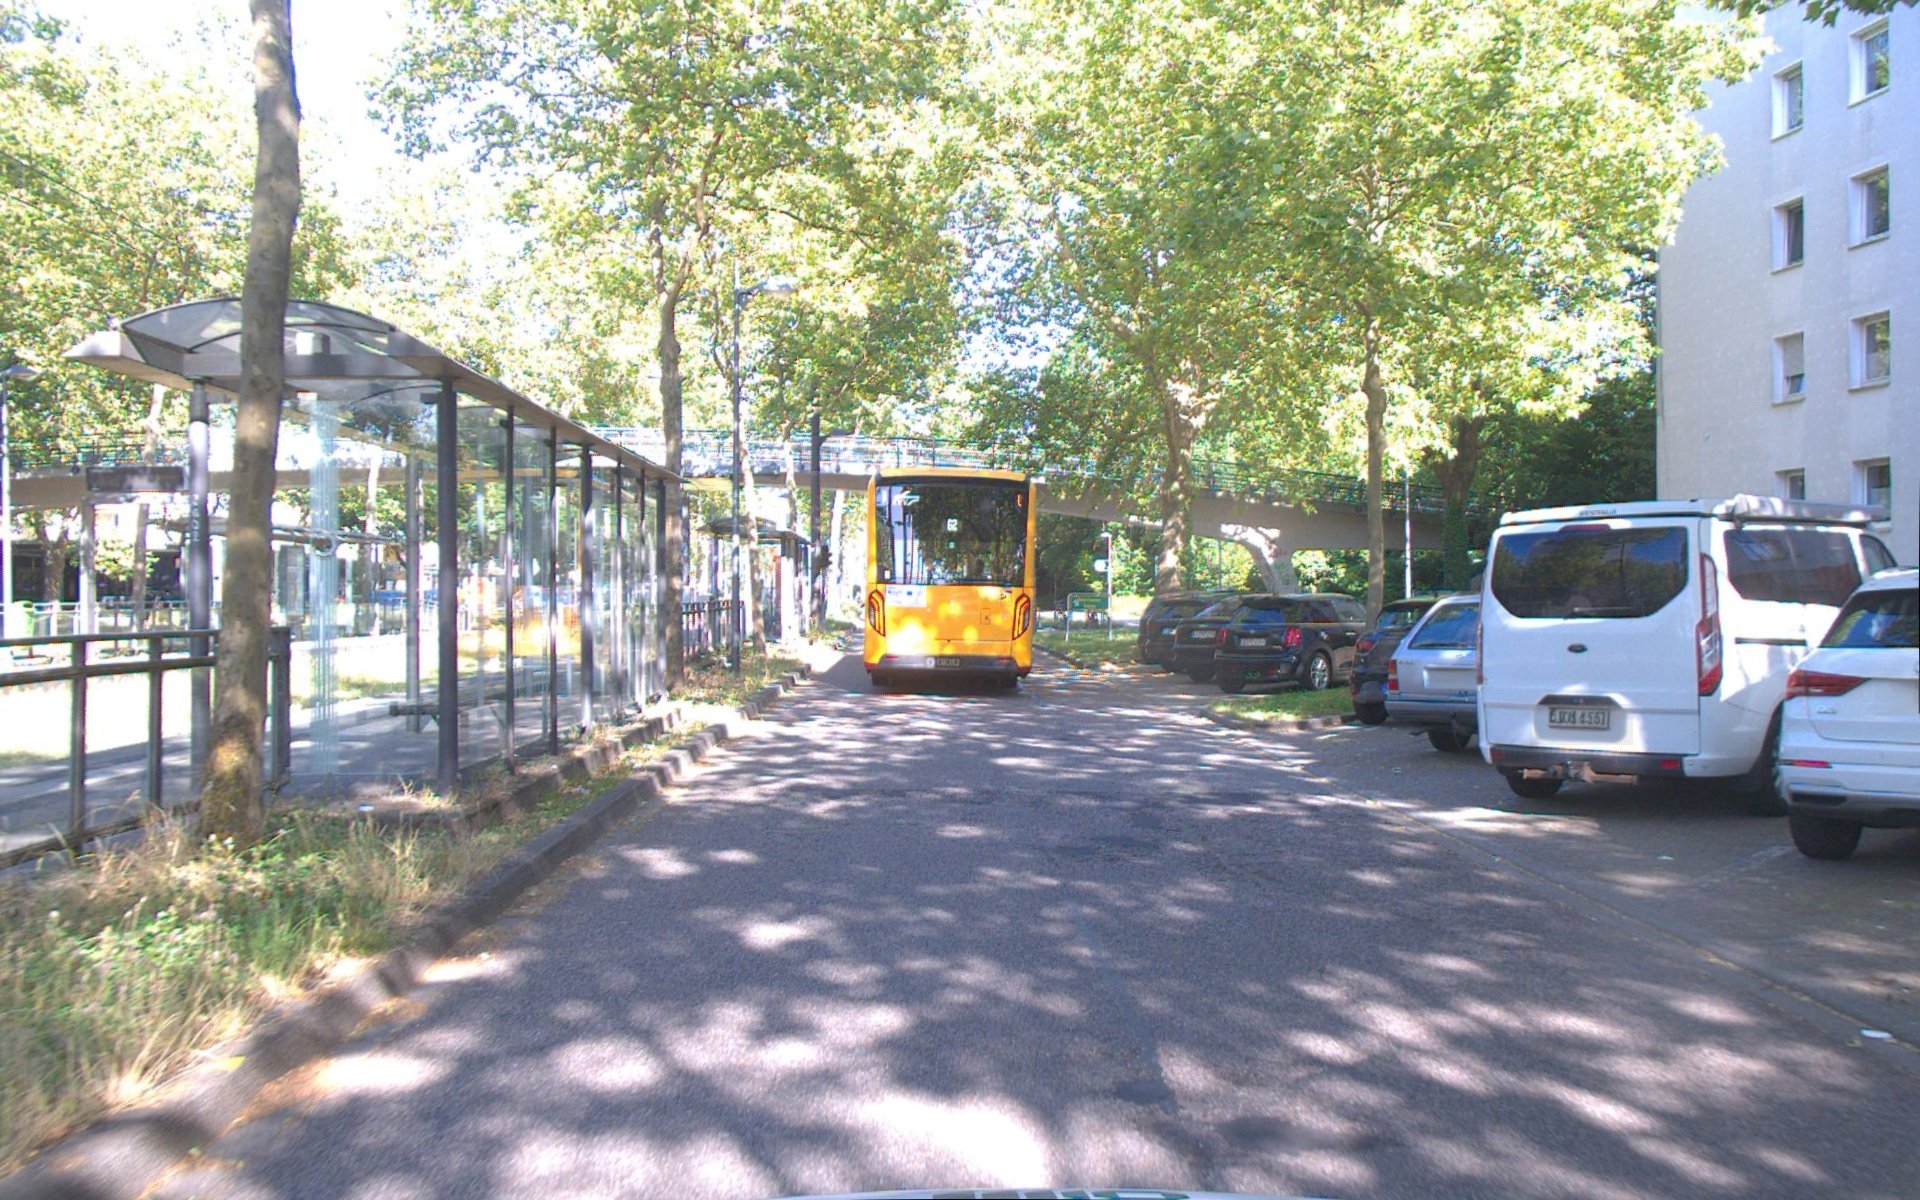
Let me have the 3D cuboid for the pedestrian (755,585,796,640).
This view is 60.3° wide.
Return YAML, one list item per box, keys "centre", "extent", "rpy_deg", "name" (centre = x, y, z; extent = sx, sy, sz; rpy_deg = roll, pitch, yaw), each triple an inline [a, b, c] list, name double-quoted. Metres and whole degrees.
- centre: [-4.359, 0.287, 39.105]
  extent: [0.837, 1.264, 0.850]
  rpy_deg: [1, 0, 0]
  name: "pedestrian"

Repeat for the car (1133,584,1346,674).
- centre: [5.395, 0.522, 31.625]
  extent: [4.222, 1.487, 1.772]
  rpy_deg: [-3, 0, -43]
  name: "car"

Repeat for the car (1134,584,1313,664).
- centre: [5.614, 0.491, 34.931]
  extent: [1.769, 1.487, 3.974]
  rpy_deg: [-2, 0, 43]
  name: "car"

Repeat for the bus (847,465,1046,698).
- centre: [-0.472, -0.292, 29.756]
  extent: [2.842, 3.324, 12.211]
  rpy_deg: [0, 0, -3]
  name: "bus"

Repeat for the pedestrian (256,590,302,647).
- centre: [-15.420, 0.413, 37.439]
  extent: [0.762, 1.259, 0.721]
  rpy_deg: [0, 0, -3]
  name: "pedestrian"

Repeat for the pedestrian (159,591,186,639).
- centre: [-27.563, 0.520, 57.894]
  extent: [0.635, 1.690, 0.649]
  rpy_deg: [0, 0, -6]
  name: "pedestrian"

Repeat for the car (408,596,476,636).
- centre: [-21.504, 0.626, 68.609]
  extent: [1.776, 1.593, 4.243]
  rpy_deg: [0, 0, -31]
  name: "car"

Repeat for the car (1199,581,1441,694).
- centre: [5.594, 0.532, 25.441]
  extent: [1.753, 1.493, 3.972]
  rpy_deg: [-2, 0, 45]
  name: "car"

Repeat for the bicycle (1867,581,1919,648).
- centre: [16.335, 0.244, 28.332]
  extent: [0.578, 1.127, 1.799]
  rpy_deg: [0, 0, -2]
  name: "bicycle"

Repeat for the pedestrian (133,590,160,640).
- centre: [-27.954, 0.520, 56.844]
  extent: [0.635, 1.690, 0.649]
  rpy_deg: [0, 0, -6]
  name: "pedestrian"

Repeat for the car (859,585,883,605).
- centre: [-8.328, -0.473, 154.866]
  extent: [1.946, 1.672, 4.133]
  rpy_deg: [3, 1, -1]
  name: "car"

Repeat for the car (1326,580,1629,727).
- centre: [6.129, 0.570, 19.353]
  extent: [1.770, 1.441, 3.896]
  rpy_deg: [-2, 0, 45]
  name: "car"

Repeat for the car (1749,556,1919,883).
- centre: [6.241, 0.526, 9.533]
  extent: [1.802, 1.608, 4.029]
  rpy_deg: [-2, 0, 45]
  name: "car"

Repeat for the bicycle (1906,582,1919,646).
- centre: [17.049, 0.245, 28.356]
  extent: [0.578, 1.127, 1.799]
  rpy_deg: [0, 0, -2]
  name: "bicycle"

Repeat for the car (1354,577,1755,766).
- centre: [5.843, 0.593, 15.934]
  extent: [4.555, 1.448, 1.771]
  rpy_deg: [-3, 0, -44]
  name: "car"

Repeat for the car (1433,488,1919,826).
- centre: [5.710, 0.292, 12.478]
  extent: [4.552, 2.088, 1.986]
  rpy_deg: [-3, 0, -42]
  name: "car"

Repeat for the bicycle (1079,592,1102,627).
- centre: [4.767, 0.353, 60.459]
  extent: [0.578, 1.203, 1.799]
  rpy_deg: [-3, 1, -3]
  name: "bicycle"

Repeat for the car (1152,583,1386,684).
- centre: [5.375, 0.536, 28.476]
  extent: [4.221, 1.487, 1.772]
  rpy_deg: [-3, 0, -42]
  name: "car"

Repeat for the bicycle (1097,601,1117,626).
- centre: [5.384, 0.483, 60.490]
  extent: [0.495, 0.867, 1.473]
  rpy_deg: [-3, 1, -3]
  name: "bicycle"

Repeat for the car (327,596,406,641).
- centre: [-22.243, 0.668, 62.102]
  extent: [1.759, 1.593, 4.283]
  rpy_deg: [0, 0, -5]
  name: "car"

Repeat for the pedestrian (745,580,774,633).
- centre: [-5.480, 0.176, 45.142]
  extent: [0.710, 1.442, 0.681]
  rpy_deg: [1, 0, -2]
  name: "pedestrian"

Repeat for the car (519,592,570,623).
- centre: [-22.036, 0.372, 87.884]
  extent: [1.758, 1.608, 4.286]
  rpy_deg: [0, 0, -2]
  name: "car"

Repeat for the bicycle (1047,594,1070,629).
- centre: [3.602, 0.424, 60.662]
  extent: [0.578, 1.203, 1.799]
  rpy_deg: [-3, 1, -3]
  name: "bicycle"
